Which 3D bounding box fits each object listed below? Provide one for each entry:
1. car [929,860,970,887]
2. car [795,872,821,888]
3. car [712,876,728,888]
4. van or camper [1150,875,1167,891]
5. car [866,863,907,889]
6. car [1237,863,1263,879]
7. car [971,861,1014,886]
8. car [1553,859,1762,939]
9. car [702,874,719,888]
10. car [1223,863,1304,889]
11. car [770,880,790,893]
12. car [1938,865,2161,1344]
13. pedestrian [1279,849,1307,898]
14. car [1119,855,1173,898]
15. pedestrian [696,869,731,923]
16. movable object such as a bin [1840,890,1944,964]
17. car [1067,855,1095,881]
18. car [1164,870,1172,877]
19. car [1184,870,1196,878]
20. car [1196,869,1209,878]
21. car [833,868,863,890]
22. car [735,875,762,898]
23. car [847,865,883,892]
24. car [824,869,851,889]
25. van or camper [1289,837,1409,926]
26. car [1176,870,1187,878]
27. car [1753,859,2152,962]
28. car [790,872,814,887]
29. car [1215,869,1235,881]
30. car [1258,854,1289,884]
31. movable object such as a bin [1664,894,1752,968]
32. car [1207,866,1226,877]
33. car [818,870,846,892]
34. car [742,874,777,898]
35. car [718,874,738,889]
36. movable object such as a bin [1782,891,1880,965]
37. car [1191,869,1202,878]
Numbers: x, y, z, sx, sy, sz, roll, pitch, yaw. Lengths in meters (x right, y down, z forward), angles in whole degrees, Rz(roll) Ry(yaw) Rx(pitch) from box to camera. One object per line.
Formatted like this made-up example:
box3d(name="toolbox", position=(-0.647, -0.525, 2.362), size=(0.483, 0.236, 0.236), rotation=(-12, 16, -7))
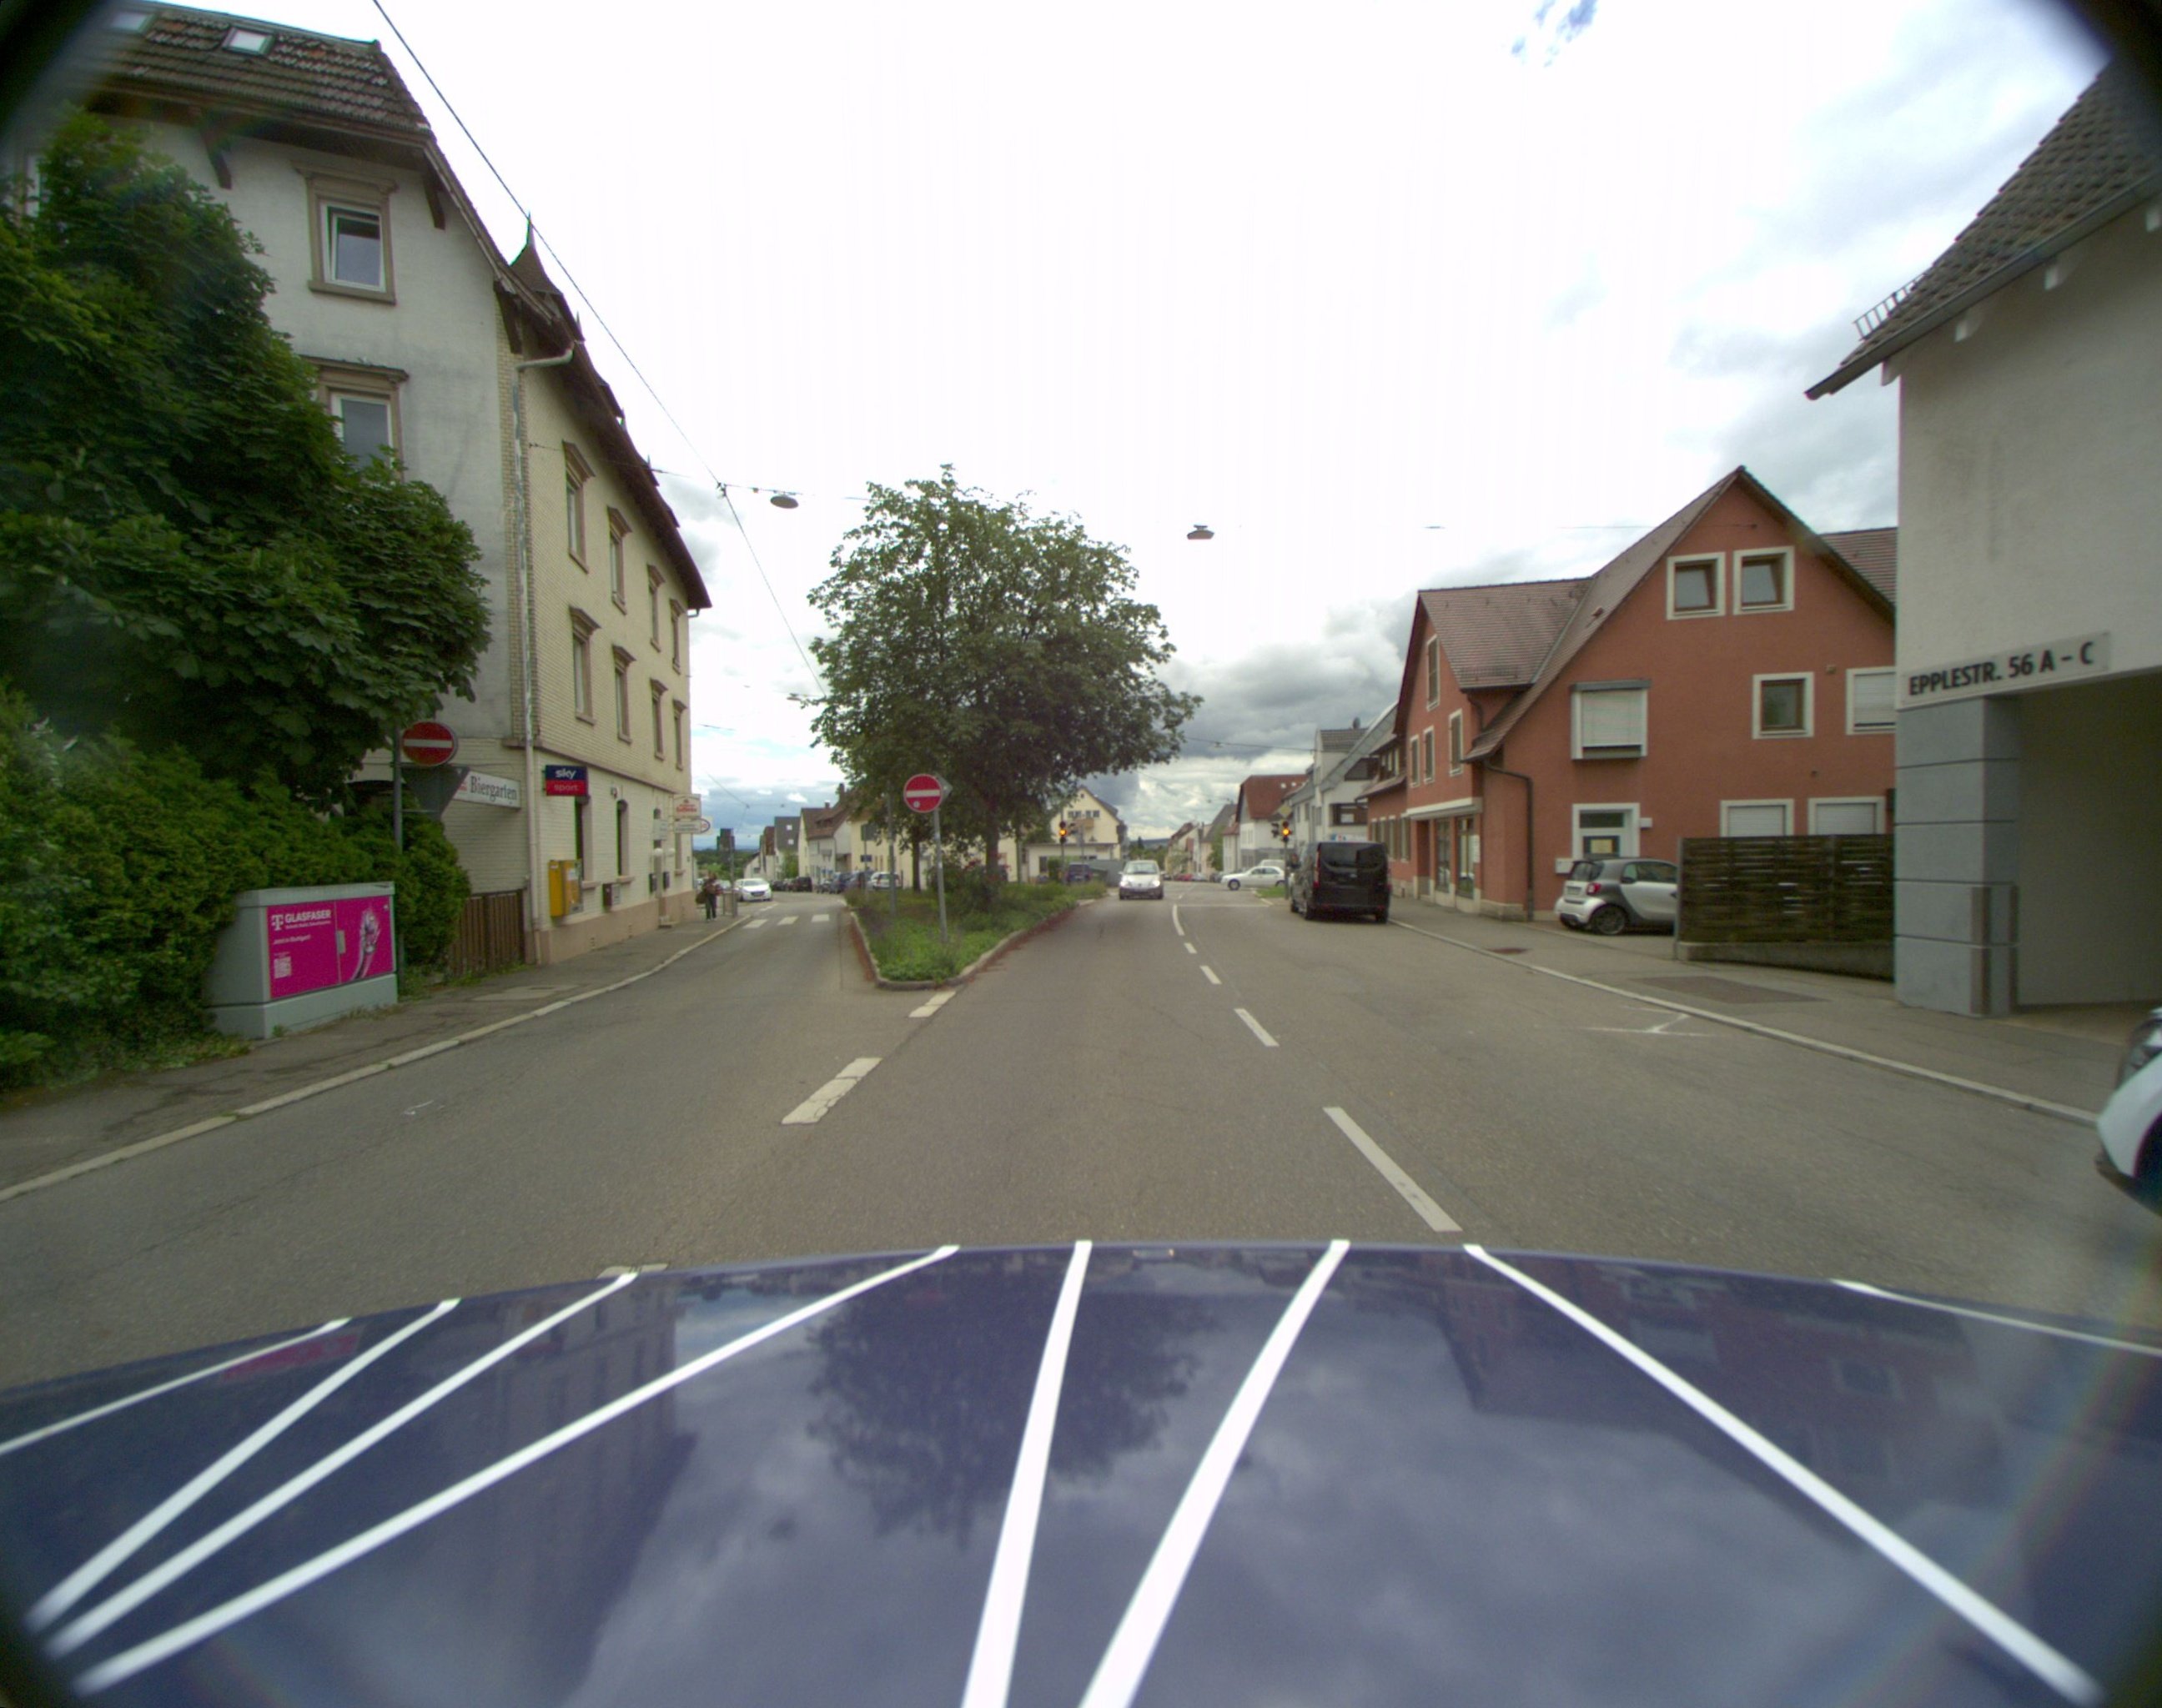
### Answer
box3d(name="car", position=(-9.740, 1.480, 55.783), size=(1.904, 1.791, 4.886), rotation=(-2, -1, -22))
box3d(name="car", position=(-31.375, 2.982, 87.189), size=(2.285, 1.720, 3.993), rotation=(-2, -1, -27))
box3d(name="car", position=(-48.905, 3.794, 102.865), size=(1.879, 1.586, 3.893), rotation=(-2, -1, -27))
box3d(name="van or camper", position=(10.908, 4.095, 107.144), size=(1.998, 2.001, 5.066), rotation=(-4, -1, 1))
box3d(name="car", position=(-13.306, 1.546, 51.759), size=(1.777, 1.608, 3.992), rotation=(-2, -1, -28))
box3d(name="car", position=(16.935, 1.724, 76.488), size=(1.841, 1.623, 4.410), rotation=(0, -1, 3))
box3d(name="car", position=(-6.786, 1.523, 57.968), size=(1.872, 1.717, 3.993), rotation=(-2, -1, -27))
box3d(name="car", position=(11.310, 0.853, 15.118), size=(2.834, 1.466, 1.744), rotation=(-1, 0, 12))
box3d(name="car", position=(-47.445, 3.475, 97.271), size=(1.879, 1.586, 3.893), rotation=(-2, -1, -27))
box3d(name="car", position=(10.783, 1.261, 44.928), size=(4.559, 1.436, 2.003), rotation=(1, -1, 14))
box3d(name="car", position=(-43.345, 4.717, 109.473), size=(2.285, 1.720, 3.993), rotation=(-2, -1, -27))
box3d(name="car", position=(4.670, 0.850, 0.844), size=(2.003, 1.623, 4.858), rotation=(-2, 0, 1))
box3d(name="pedestrian", position=(7.896, 0.737, 28.392), size=(0.891, 1.774, 0.804), rotation=(-2, -1, 10))
box3d(name="car", position=(2.751, 0.906, 31.388), size=(1.720, 1.586, 4.004), rotation=(-3, -1, 11))
box3d(name="pedestrian", position=(-12.261, 1.380, 25.348), size=(0.861, 1.722, 1.020), rotation=(-3, -1, -19))
box3d(name="movable object such as a bin", position=(11.728, 1.036, 11.015), size=(0.667, 1.012, 0.796), rotation=(0, -1, 6))
box3d(name="car", position=(0.024, 0.996, 53.101), size=(1.750, 1.729, 4.574), rotation=(1, -1, 3))
box3d(name="car", position=(21.585, 4.883, 188.924), size=(1.706, 1.523, 3.737), rotation=(2, -1, 2))
box3d(name="car", position=(20.110, 3.671, 140.126), size=(1.706, 1.401, 3.737), rotation=(2, -1, 2))
box3d(name="car", position=(19.093, 3.081, 119.462), size=(1.653, 1.438, 3.813), rotation=(0, -1, 2))
box3d(name="car", position=(-19.616, 2.094, 63.888), size=(1.725, 1.720, 3.993), rotation=(-2, -1, -27))
box3d(name="car", position=(-23.154, 2.222, 52.850), size=(1.629, 1.466, 3.760), rotation=(-1, 0, -26))
box3d(name="car", position=(-16.388, 1.902, 57.469), size=(1.778, 1.931, 4.316), rotation=(1, -3, -28))
box3d(name="car", position=(-22.085, 2.277, 68.828), size=(1.725, 1.720, 3.993), rotation=(-2, -1, -27))
box3d(name="van or camper", position=(6.819, 0.650, 19.928), size=(2.077, 1.994, 4.861), rotation=(1, 0, 9))
box3d(name="car", position=(20.024, 3.967, 151.541), size=(1.706, 1.523, 3.737), rotation=(2, -1, 2))
box3d(name="car", position=(13.674, 0.849, 12.201), size=(3.993, 1.466, 1.744), rotation=(-1, 0, 11))
box3d(name="car", position=(-33.948, 3.105, 92.494), size=(2.285, 1.720, 3.993), rotation=(-2, -1, -27))
box3d(name="car", position=(18.252, 2.620, 96.186), size=(1.841, 1.436, 4.469), rotation=(1, -1, 3))
box3d(name="car", position=(13.602, 1.076, 53.882), size=(1.815, 1.993, 4.768), rotation=(1, -1, 11))
box3d(name="movable object such as a bin", position=(9.255, 1.118, 11.241), size=(0.667, 1.012, 0.796), rotation=(0, -1, 6))
box3d(name="car", position=(18.166, 2.328, 102.248), size=(1.842, 1.436, 4.001), rotation=(1, -1, 0))
box3d(name="car", position=(-23.965, 2.604, 72.946), size=(2.002, 2.001, 3.993), rotation=(-2, -1, -25))
box3d(name="car", position=(-20.571, 2.085, 48.494), size=(1.778, 1.470, 3.823), rotation=(1, -3, -27))
box3d(name="car", position=(-40.303, 3.199, 86.695), size=(1.879, 1.586, 3.893), rotation=(-2, -1, -27))
box3d(name="movable object such as a bin", position=(10.924, 1.059, 11.098), size=(0.667, 1.012, 0.796), rotation=(0, -1, 6))
box3d(name="car", position=(18.913, 3.185, 124.487), size=(1.653, 1.438, 3.776), rotation=(0, -1, 5))
